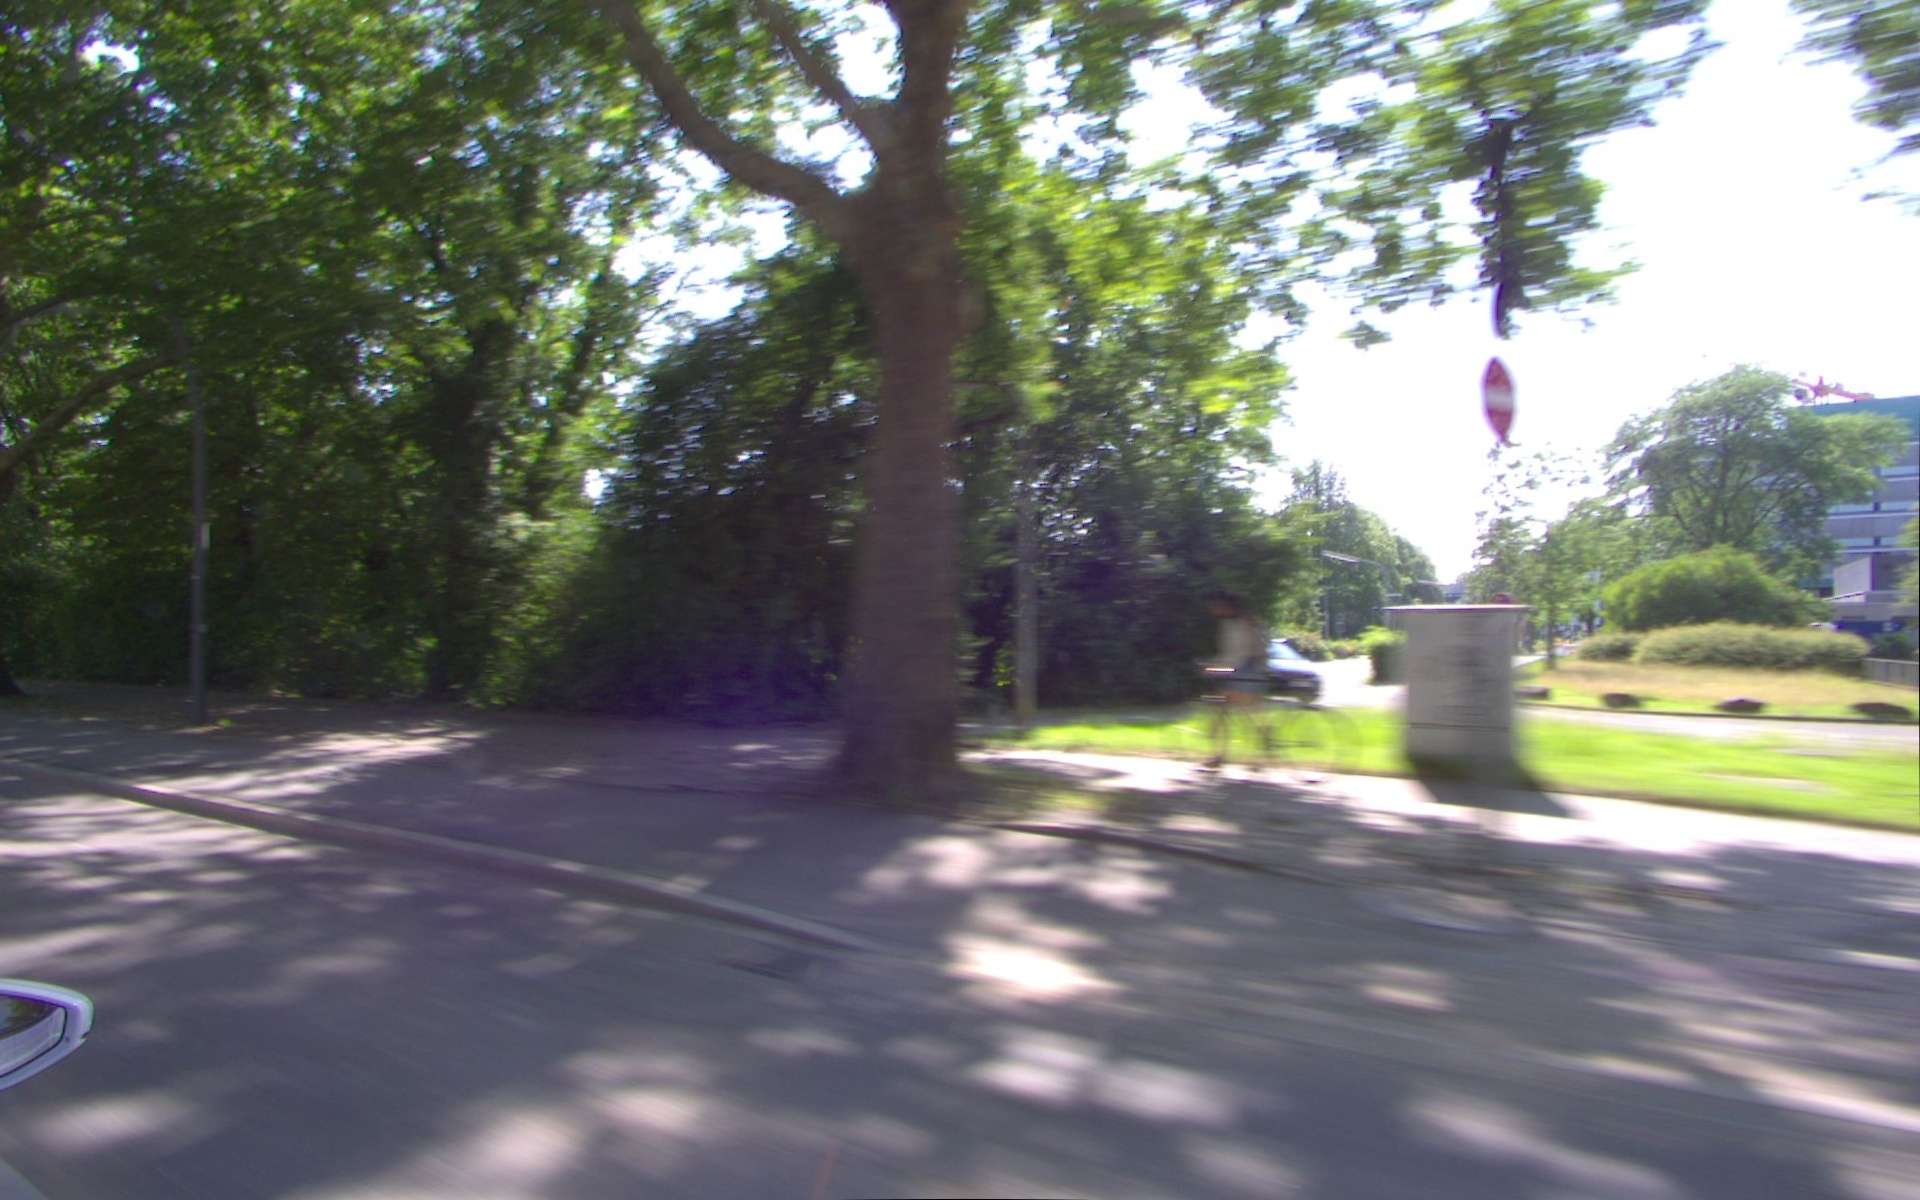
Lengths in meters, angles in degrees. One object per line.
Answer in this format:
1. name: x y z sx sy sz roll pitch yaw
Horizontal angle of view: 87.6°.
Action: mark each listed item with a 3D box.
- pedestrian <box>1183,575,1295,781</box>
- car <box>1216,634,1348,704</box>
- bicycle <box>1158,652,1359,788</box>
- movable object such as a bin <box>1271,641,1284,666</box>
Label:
1. pedestrian: 2.584 0.702 9.273 0.862 1.808 0.631 0 -2 32
2. car: 7.324 1.543 23.189 1.651 1.472 4.002 1 -2 -2
3. bicycle: 2.609 1.018 8.844 1.674 1.095 0.349 -1 -2 32
4. movable object such as a bin: 17.612 2.953 55.497 0.569 1.377 0.458 0 -2 39
